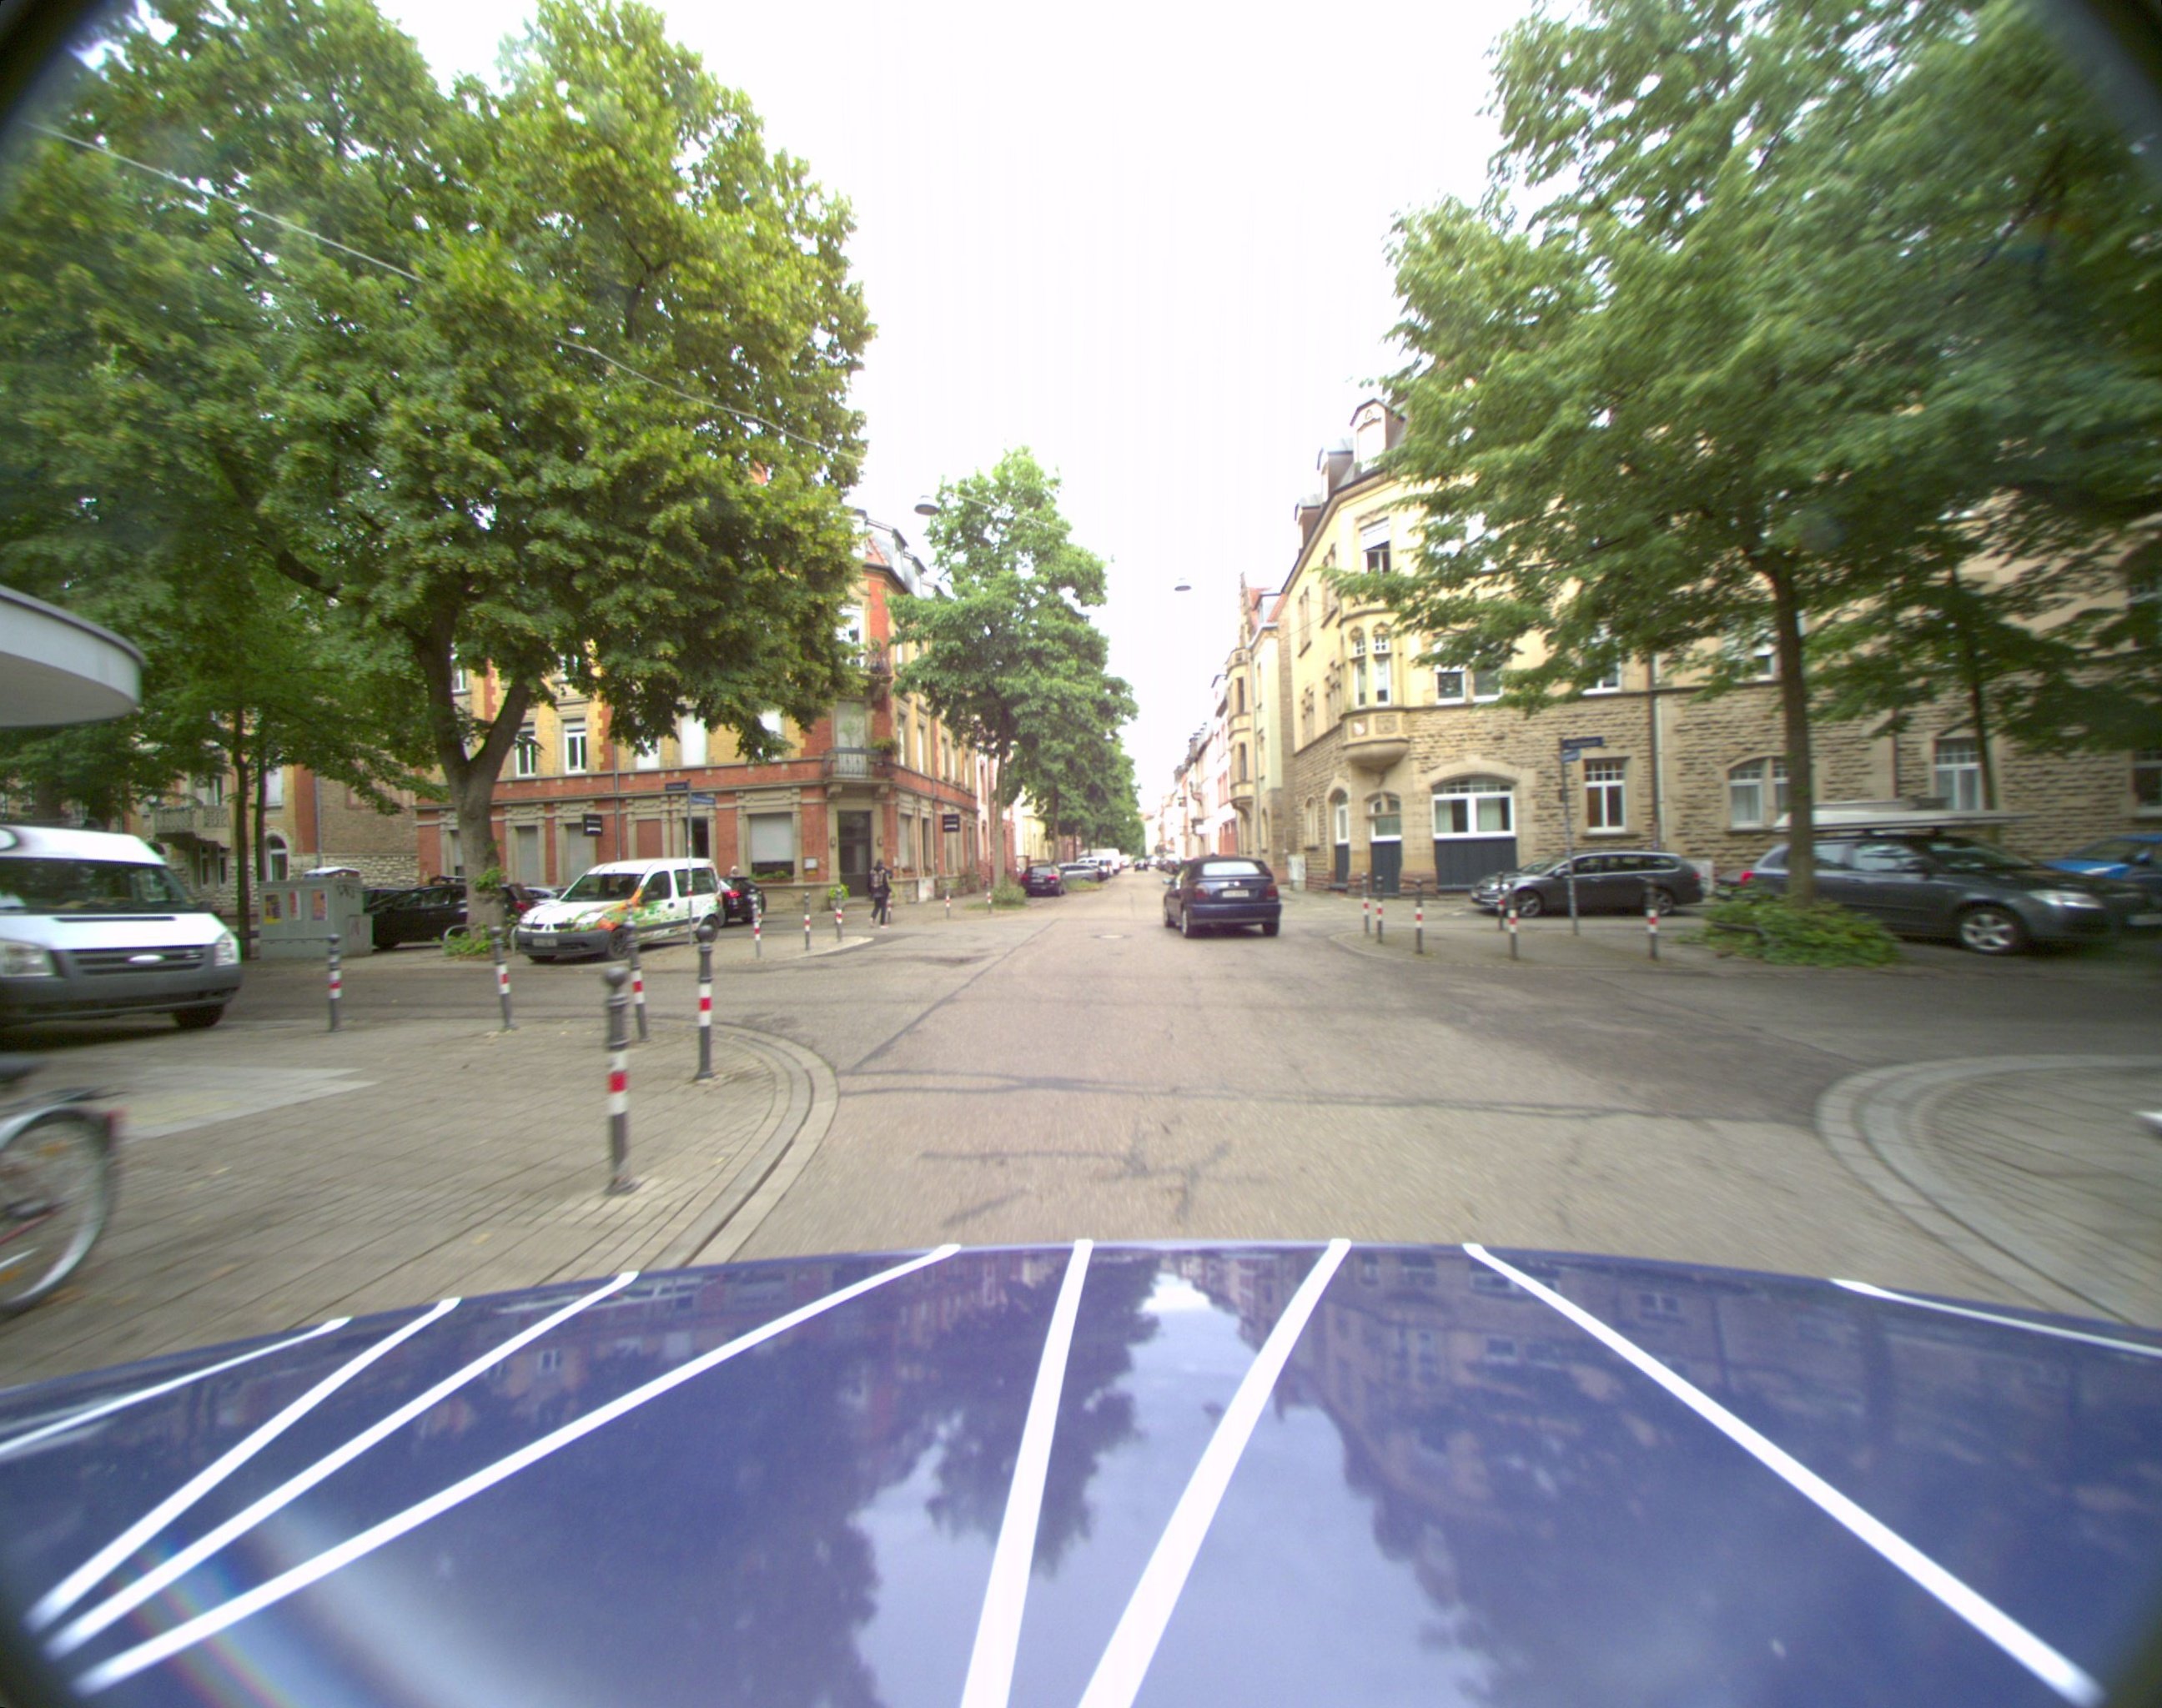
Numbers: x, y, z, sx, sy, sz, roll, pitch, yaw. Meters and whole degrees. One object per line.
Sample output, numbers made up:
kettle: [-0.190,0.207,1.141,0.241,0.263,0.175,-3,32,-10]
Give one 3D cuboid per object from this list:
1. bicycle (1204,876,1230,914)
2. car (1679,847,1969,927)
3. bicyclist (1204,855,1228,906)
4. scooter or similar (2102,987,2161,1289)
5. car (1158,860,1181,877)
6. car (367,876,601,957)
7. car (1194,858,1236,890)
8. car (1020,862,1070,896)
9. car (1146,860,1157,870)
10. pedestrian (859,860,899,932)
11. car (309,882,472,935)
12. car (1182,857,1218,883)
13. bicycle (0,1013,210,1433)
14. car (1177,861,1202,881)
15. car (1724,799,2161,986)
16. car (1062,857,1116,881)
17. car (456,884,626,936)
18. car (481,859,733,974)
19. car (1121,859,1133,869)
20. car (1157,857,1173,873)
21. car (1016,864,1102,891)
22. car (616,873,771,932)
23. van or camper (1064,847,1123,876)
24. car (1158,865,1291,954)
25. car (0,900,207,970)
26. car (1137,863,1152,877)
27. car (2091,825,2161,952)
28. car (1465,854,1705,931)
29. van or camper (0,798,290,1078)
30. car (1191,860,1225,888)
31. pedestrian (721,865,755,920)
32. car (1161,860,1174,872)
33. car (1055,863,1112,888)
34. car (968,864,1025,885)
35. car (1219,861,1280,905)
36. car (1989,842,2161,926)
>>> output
bicycle: [4.146,1.231,23.298,0.635,1.087,1.800,-1,-1,6]
car: [15.877,0.692,16.485,4.278,1.459,1.663,-2,3,11]
bicyclist: [4.136,0.801,23.315,0.649,1.529,0.677,-1,0,6]
scooter or similar: [4.639,1.022,2.441,1.471,1.097,0.677,-4,0,16]
car: [7.995,1.292,68.843,1.904,1.382,4.002,-2,-1,4]
car: [-13.634,1.372,17.663,3.957,1.571,1.682,-2,-1,-24]
car: [6.672,0.985,38.125,1.593,1.425,3.811,-3,-1,3]
car: [-1.596,1.105,35.256,1.768,1.477,4.481,0,0,4]
car: [14.543,2.245,156.736,2.051,2.071,3.813,-3,-1,5]
pedestrian: [-5.104,1.057,19.247,0.780,1.786,0.509,-2,0,6]
car: [-23.350,1.829,25.742,4.324,1.525,2.002,-2,2,15]
car: [7.435,1.002,47.682,1.670,1.502,3.554,-2,-1,0]
bicycle: [-3.446,1.163,2.033,0.608,1.088,1.783,-2,0,-18]
car: [8.079,1.260,56.822,1.468,1.408,3.920,-3,-1,4]
car: [11.336,0.411,10.135,1.833,1.956,3.959,-2,0,-8]
car: [0.627,1.224,61.016,3.992,1.801,1.722,-2,0,15]
car: [-17.058,1.762,24.066,4.324,1.347,2.002,-2,2,15]
car: [-8.607,1.039,14.288,1.773,1.808,4.003,-2,0,9]
car: [8.577,1.792,142.321,1.997,1.739,4.002,-2,-1,6]
car: [10.145,1.265,92.066,1.843,1.849,4.002,-2,0,6]
car: [-1.205,1.257,42.217,4.452,1.419,1.754,1,0,-29]
car: [-11.477,1.436,22.607,3.828,1.531,1.661,-2,1,11]
van or camper: [1.141,0.658,71.187,5.076,2.575,2.069,-2,0,-26]
car: [2.548,0.938,14.409,1.712,1.405,3.852,-1,-1,-1]
car: [-24.928,2.006,19.015,3.595,1.410,1.740,-4,-2,-32]
car: [8.396,2.095,99.790,1.813,1.620,4.209,-2,0,5]
car: [14.892,0.454,9.674,1.649,1.508,3.618,-2,3,40]
car: [11.363,0.860,17.415,4.279,1.459,1.663,-2,3,11]
van or camper: [-12.153,0.880,8.304,5.780,2.478,2.139,-2,-3,13]
car: [7.110,1.084,42.681,1.520,1.425,3.457,-3,-1,5]
pedestrian: [-11.032,1.231,24.419,0.747,1.696,0.563,-2,0,15]
car: [11.093,1.578,97.455,1.456,1.401,3.813,-3,-1,5]
car: [0.178,1.461,52.071,3.471,1.553,1.784,-2,0,-18]
car: [-6.360,1.560,57.221,3.996,1.445,1.610,-2,0,4]
car: [6.200,1.023,28.346,1.731,1.425,3.884,-3,-1,6]
car: [21.207,0.566,15.338,3.385,1.459,1.663,-2,3,11]
